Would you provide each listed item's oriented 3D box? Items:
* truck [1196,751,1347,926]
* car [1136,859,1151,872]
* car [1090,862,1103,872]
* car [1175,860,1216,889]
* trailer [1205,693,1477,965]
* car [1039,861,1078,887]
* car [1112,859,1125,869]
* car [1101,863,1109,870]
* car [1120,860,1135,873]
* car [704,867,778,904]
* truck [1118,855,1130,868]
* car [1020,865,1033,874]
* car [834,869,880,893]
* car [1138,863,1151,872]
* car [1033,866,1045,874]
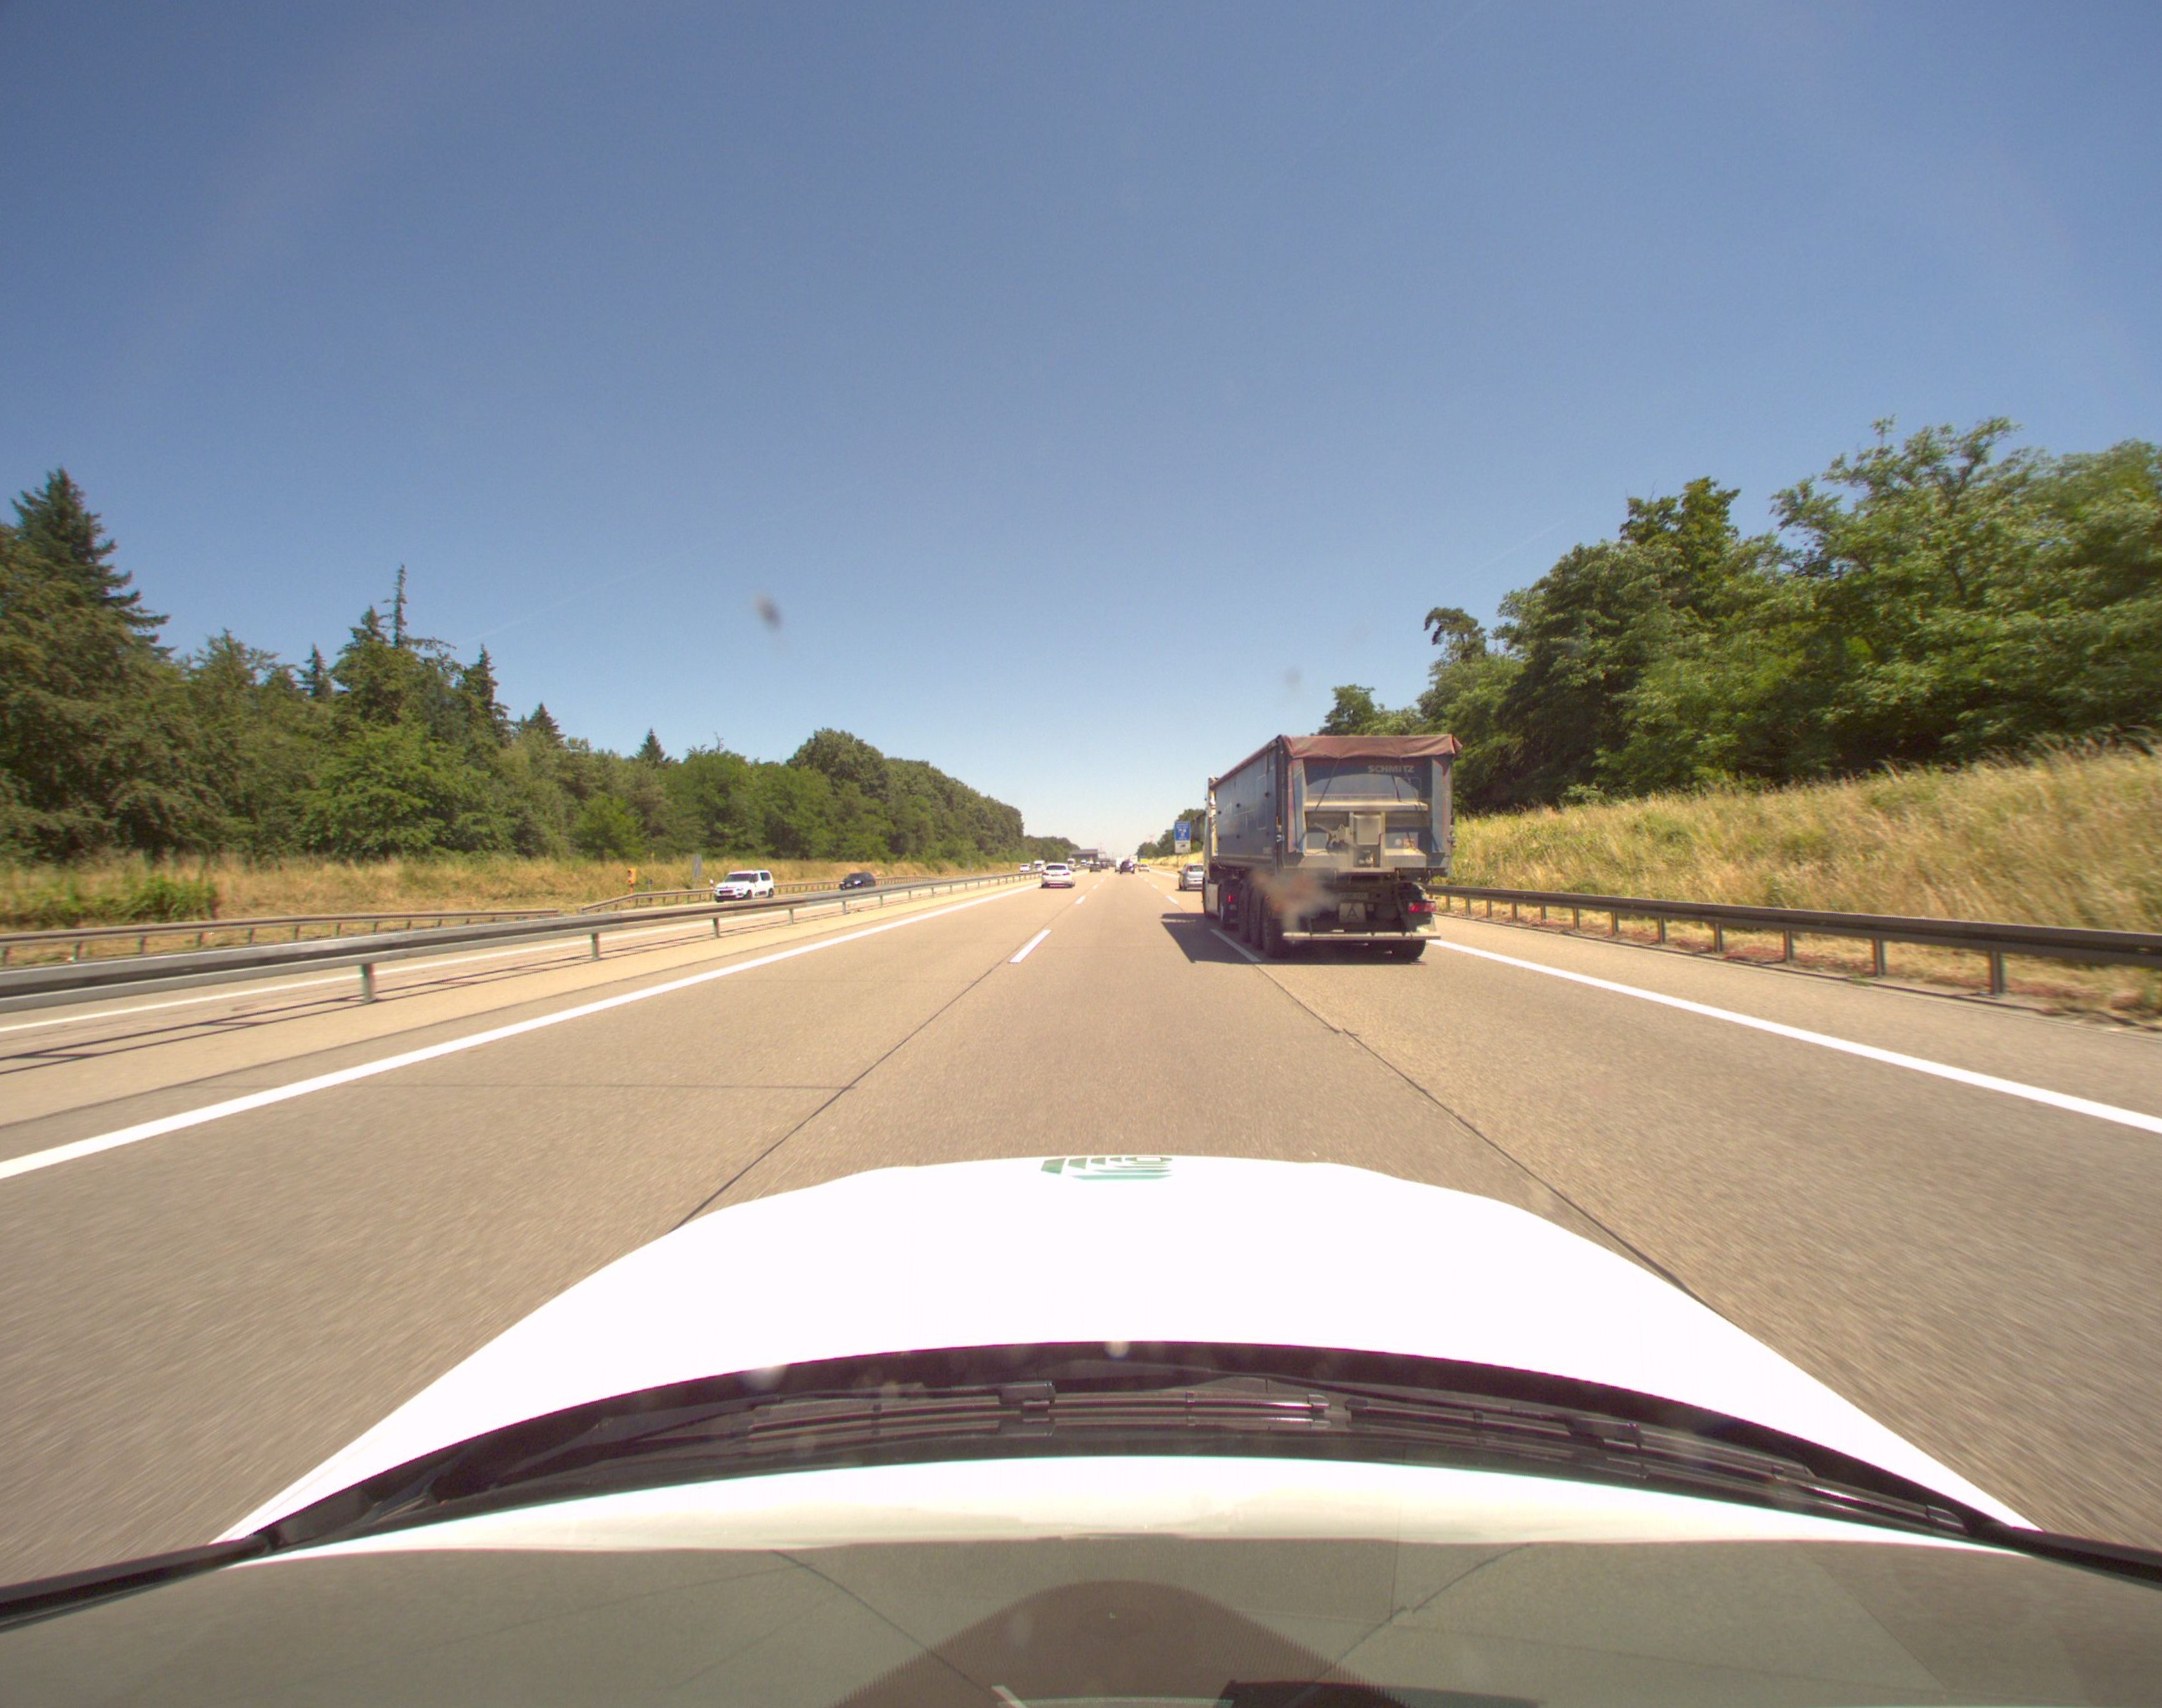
[{"bbox_3d":[4.560,-0.331,20.701,2.673,3.758,5.948,-1,0,3],"label":"truck"},{"bbox_3d":[12.626,2.374,165.054,2.657,2.634,6.114,0,-1,1],"label":"car"},{"bbox_3d":[2.499,2.052,130.155,1.824,1.431,5.003,0,0,3],"label":"car"},{"bbox_3d":[6.126,1.076,43.956,1.713,1.491,3.737,0,0,1],"label":"car"},{"bbox_3d":[4.321,-0.337,15.917,2.726,3.758,9.114,-1,0,2],"label":"trailer"},{"bbox_3d":[-1.315,1.192,49.931,1.956,1.504,5.408,0,-1,3],"label":"car"},{"bbox_3d":[5.929,1.607,128.651,1.886,1.469,4.264,0,0,3],"label":"car"},{"bbox_3d":[5.411,2.759,183.696,1.868,1.580,3.931,0,0,3],"label":"car"},{"bbox_3d":[6.140,1.624,108.834,1.825,1.672,4.000,1,-1,1],"label":"car"},{"bbox_3d":[-19.113,1.724,46.081,1.985,1.828,4.645,-3,-1,3],"label":"car"},{"bbox_3d":[9.988,1.838,189.389,2.420,2.884,6.206,0,-1,1],"label":"truck"},{"bbox_3d":[-11.779,3.322,176.753,1.985,1.953,5.248,-3,-1,3],"label":"car"},{"bbox_3d":[-17.858,2.143,65.156,1.985,1.703,4.982,-3,-1,3],"label":"car"},{"bbox_3d":[10.647,2.291,136.530,1.816,1.492,3.735,0,-1,-1],"label":"car"},{"bbox_3d":[-8.628,3.257,168.991,1.843,1.527,5.209,-2,-1,4],"label":"car"}]
